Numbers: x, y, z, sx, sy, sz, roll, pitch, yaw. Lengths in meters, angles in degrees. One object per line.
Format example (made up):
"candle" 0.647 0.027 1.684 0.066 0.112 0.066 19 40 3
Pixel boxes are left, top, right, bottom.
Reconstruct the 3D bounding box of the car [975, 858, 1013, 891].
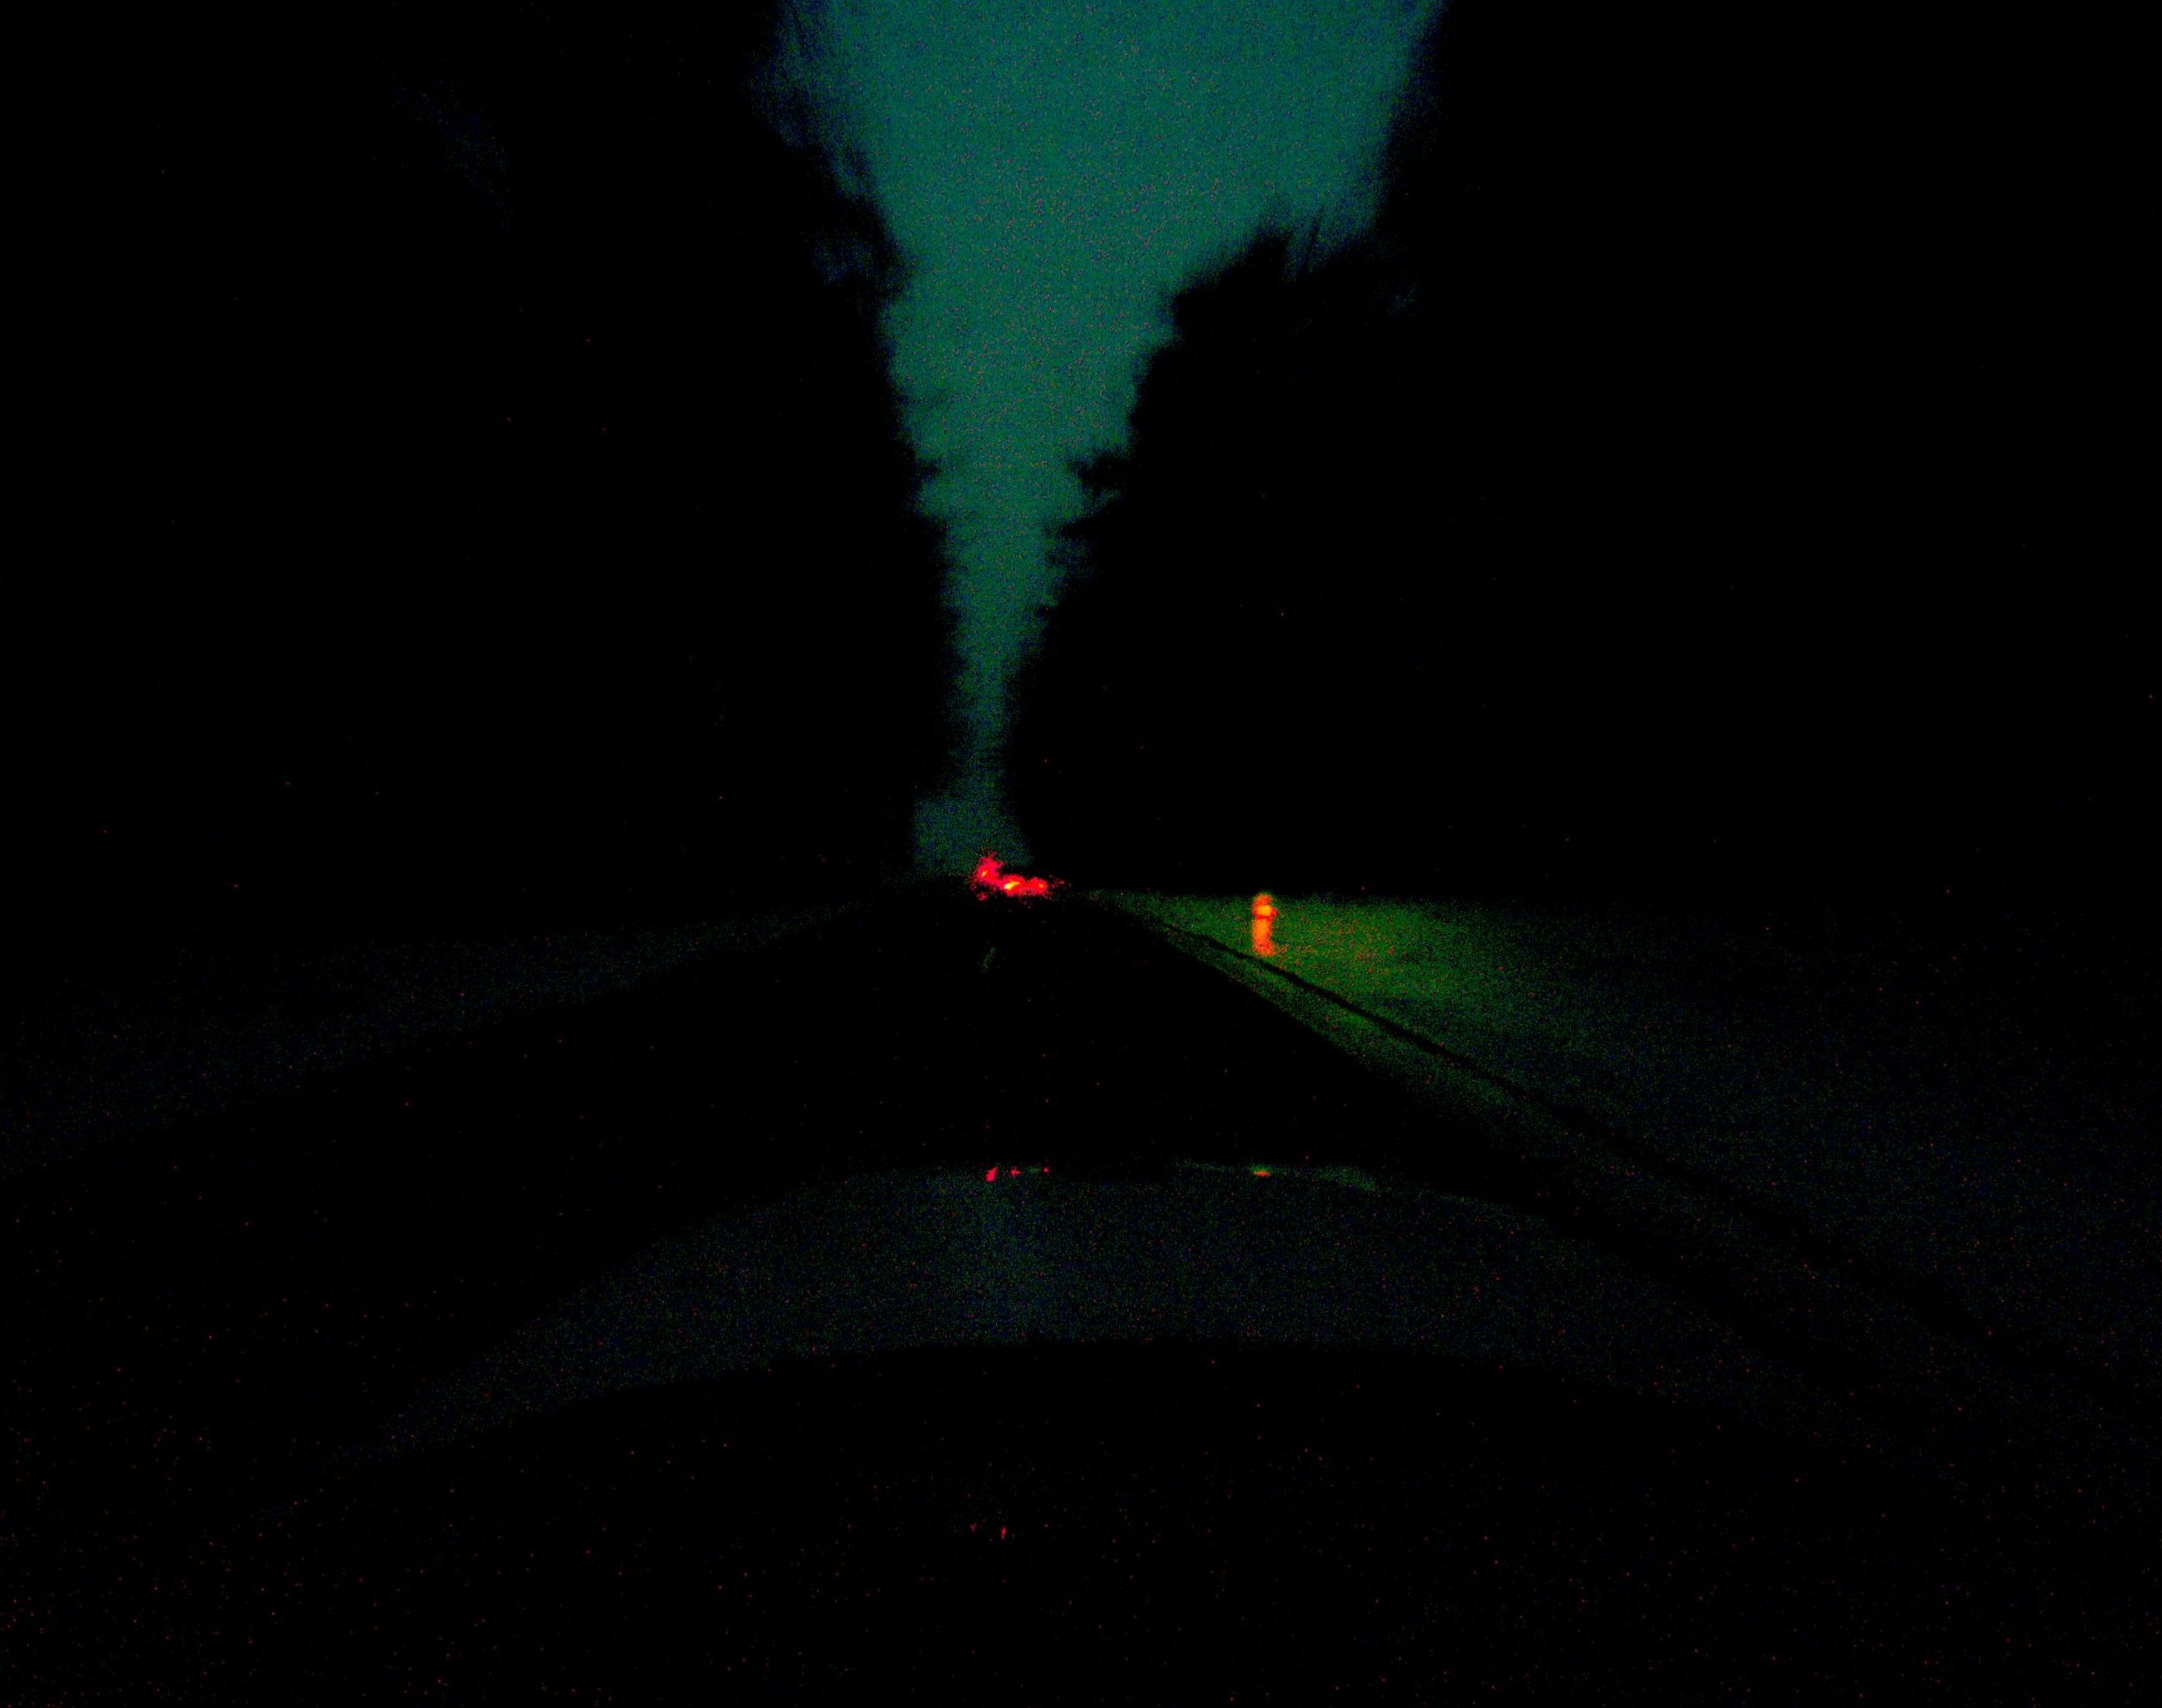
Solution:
"car" -5.233 1.207 48.318 1.992 1.783 3.988 4 -2 -8

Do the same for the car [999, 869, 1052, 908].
"car" -2.251 1.333 32.621 1.943 1.381 3.992 2 -1 -5
